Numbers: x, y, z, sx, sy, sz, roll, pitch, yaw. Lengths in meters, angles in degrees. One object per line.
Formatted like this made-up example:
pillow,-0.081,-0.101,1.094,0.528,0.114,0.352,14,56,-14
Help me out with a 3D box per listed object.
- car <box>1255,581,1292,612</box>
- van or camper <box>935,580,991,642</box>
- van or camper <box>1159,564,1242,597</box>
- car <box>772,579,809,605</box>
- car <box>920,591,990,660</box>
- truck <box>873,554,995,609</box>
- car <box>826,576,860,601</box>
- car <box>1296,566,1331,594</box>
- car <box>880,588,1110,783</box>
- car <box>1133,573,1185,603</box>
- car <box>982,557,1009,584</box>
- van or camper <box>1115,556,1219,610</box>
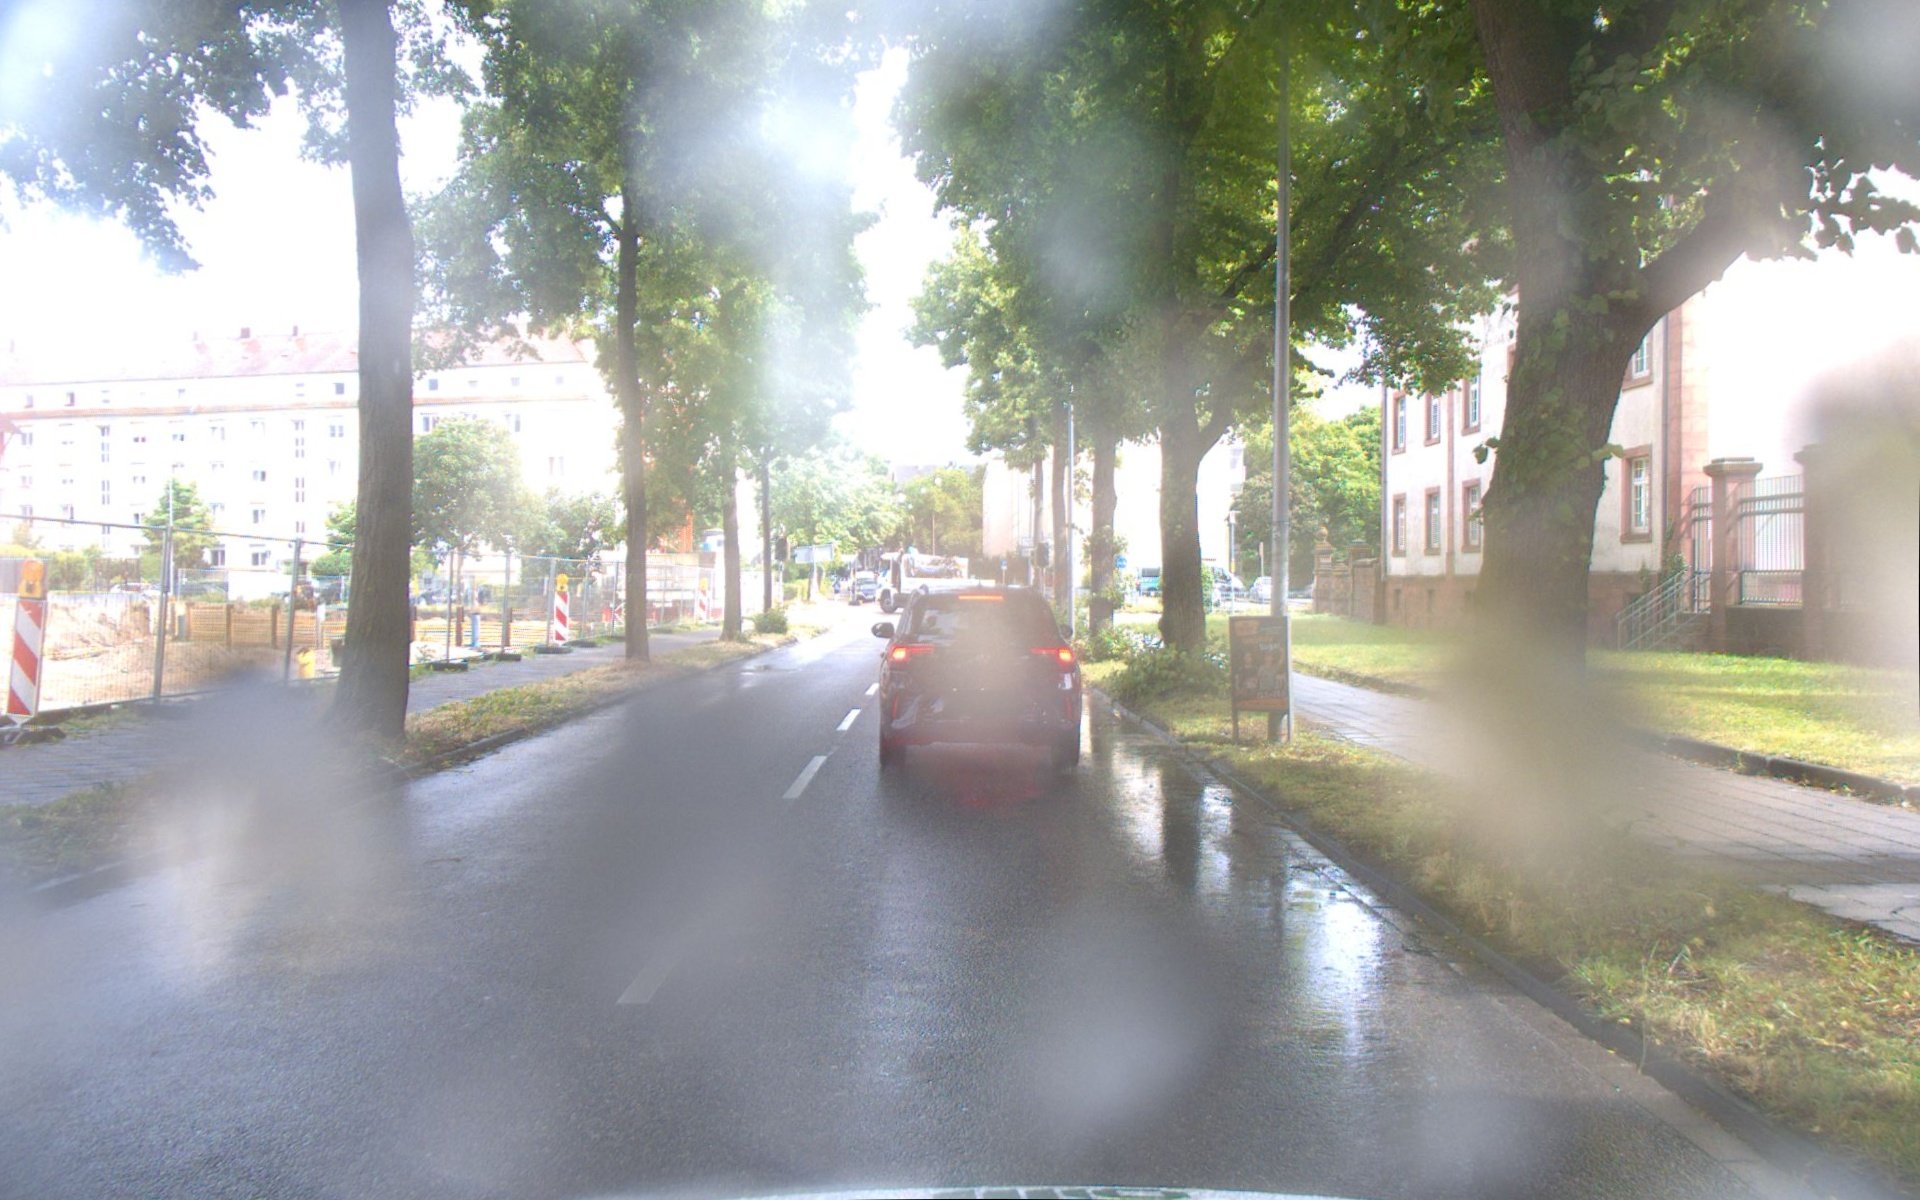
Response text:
car,18.468,-0.212,97.493,1.706,1.713,3.873,-3,0,6
van or camper,0.122,0.323,55.637,1.782,1.981,4.196,1,1,1
van or camper,14.739,-1.190,101.578,4.774,1.959,2.131,0,1,0
car,-11.035,-0.543,107.860,1.557,1.538,3.734,-3,1,6
car,-0.102,0.664,45.444,1.645,1.738,3.911,-3,0,3
truck,-1.462,-1.019,85.774,2.775,2.703,8.159,0,2,-30
car,-7.771,-0.798,109.905,1.557,1.538,3.734,-3,1,6
car,25.350,-1.421,118.776,1.828,1.889,3.812,-3,0,4
car,0.259,0.683,15.415,1.856,1.549,4.000,0,1,-1
car,13.419,-0.801,111.320,3.335,1.812,1.761,-3,0,9
car,2.774,-2.310,129.592,1.953,2.049,4.000,-1,0,0
van or camper,10.484,-0.875,83.969,4.931,2.641,2.167,-1,0,-2
